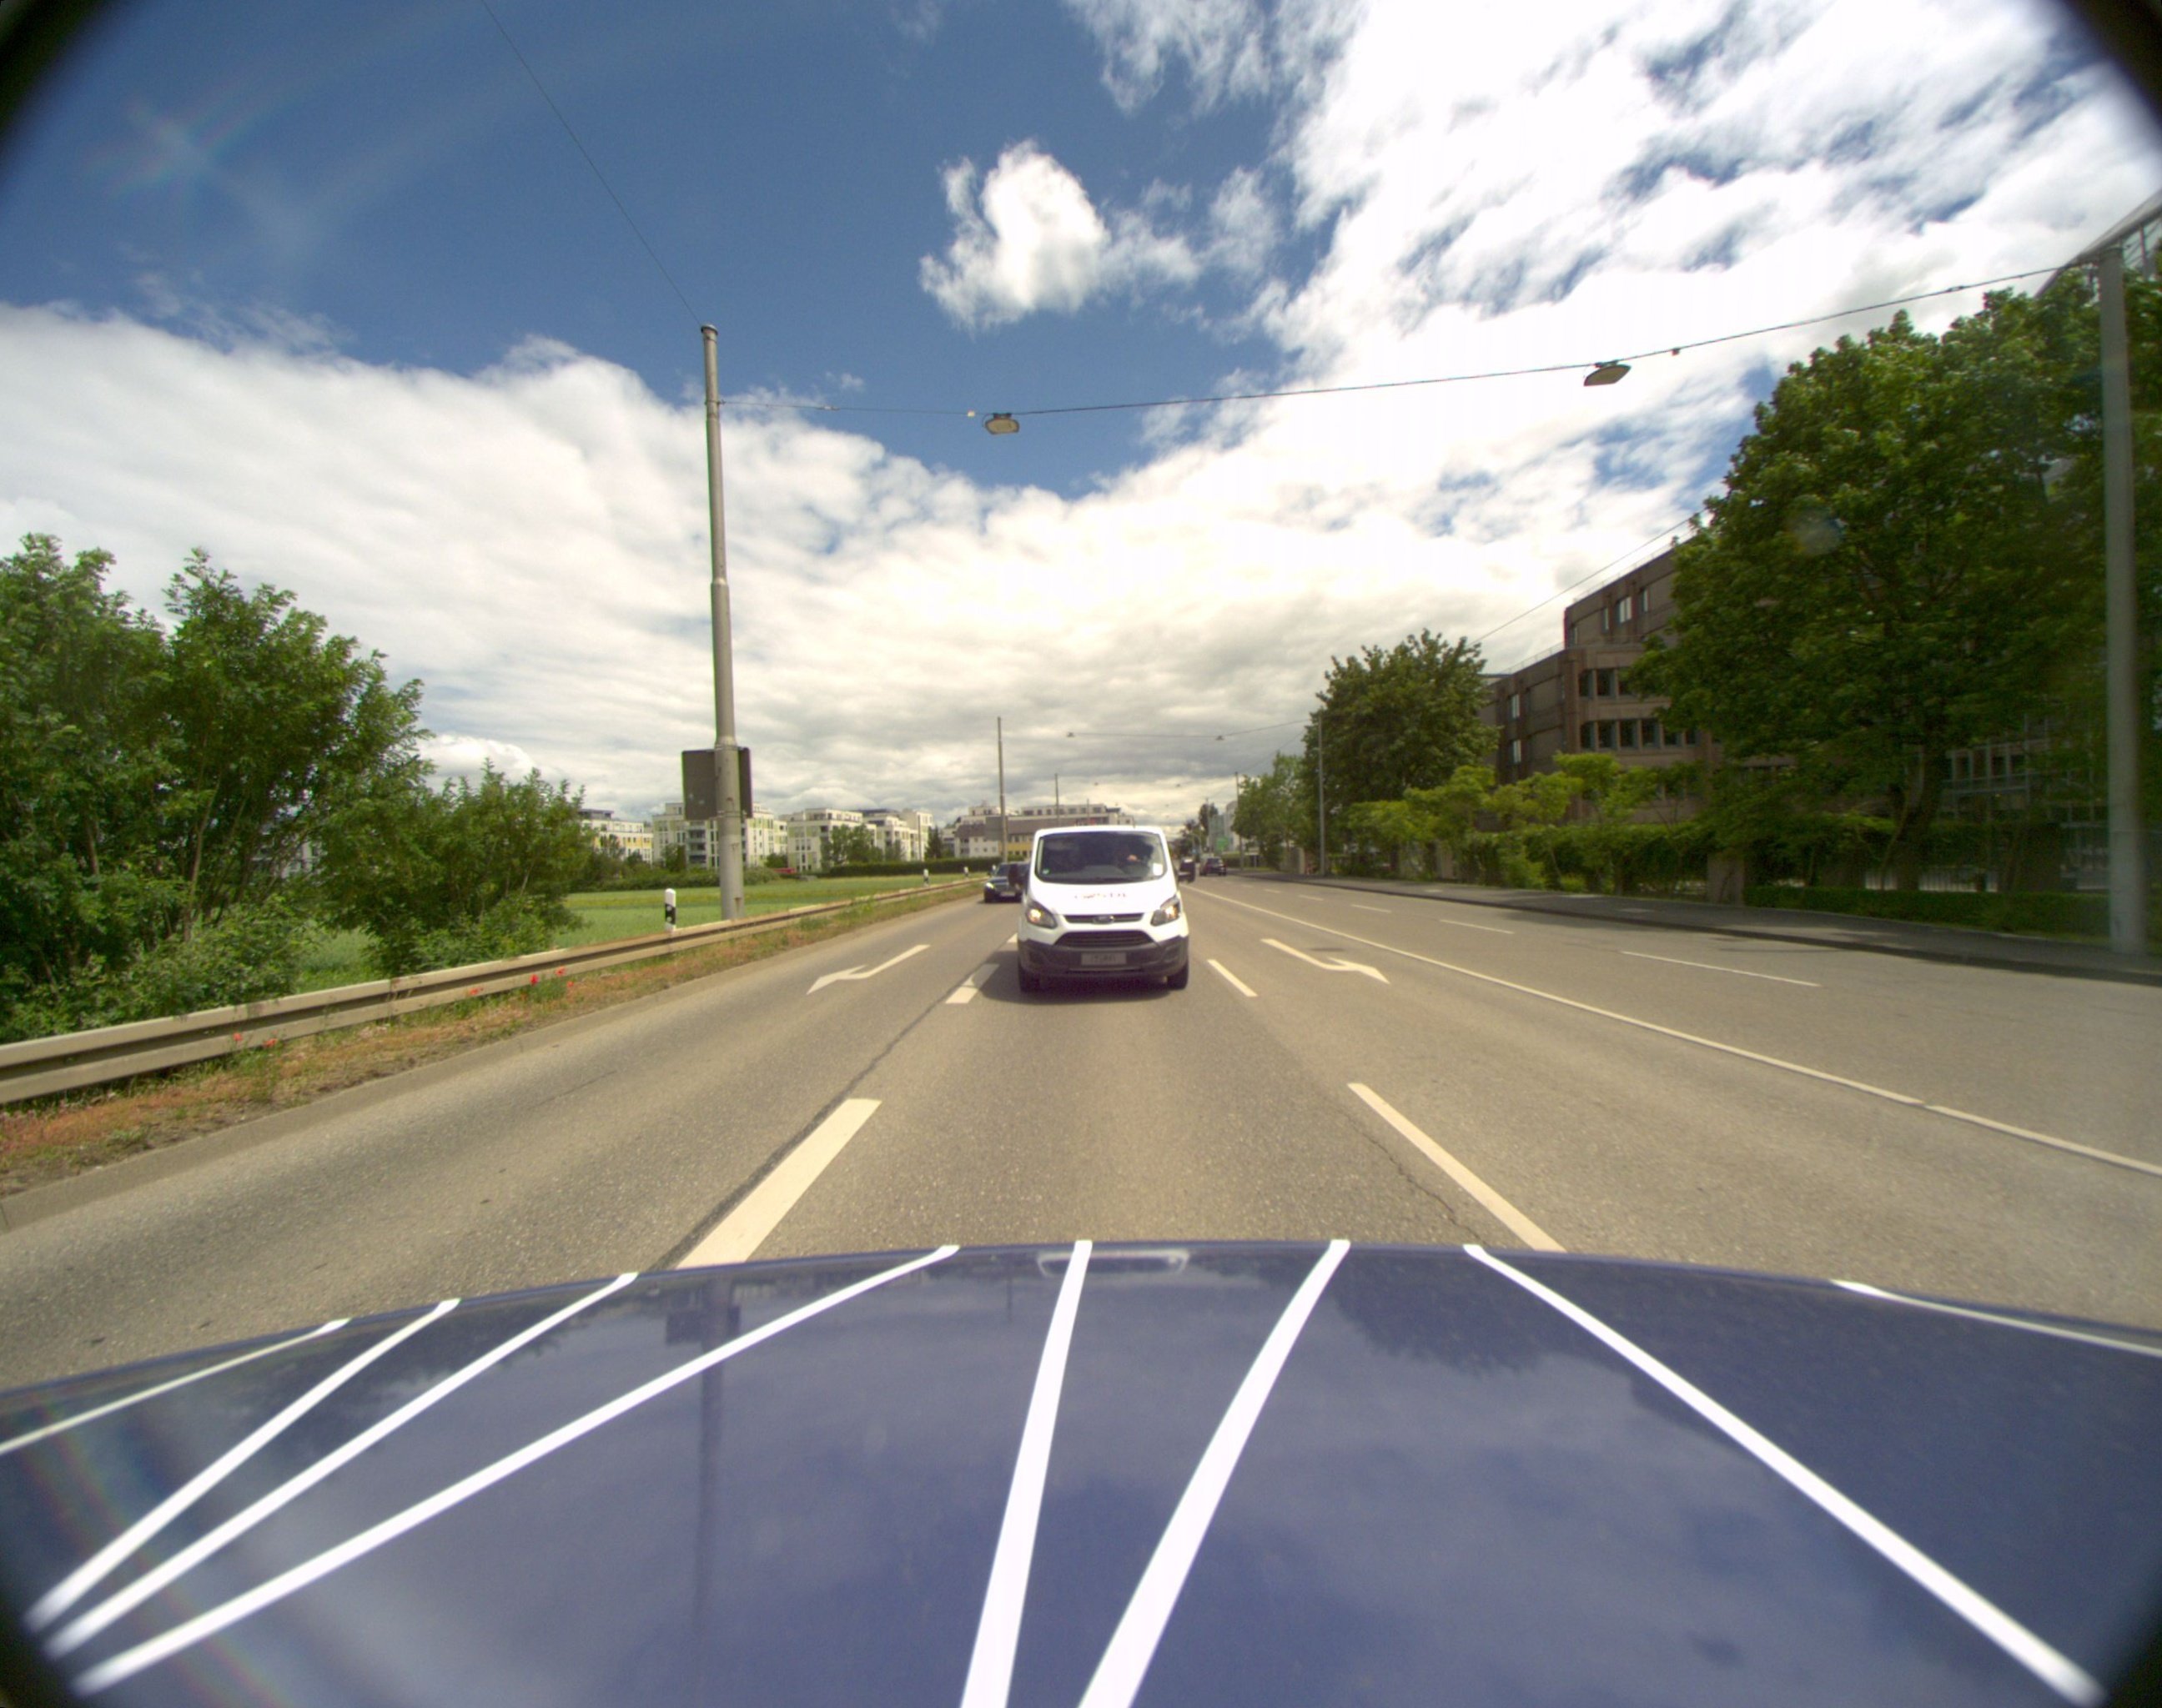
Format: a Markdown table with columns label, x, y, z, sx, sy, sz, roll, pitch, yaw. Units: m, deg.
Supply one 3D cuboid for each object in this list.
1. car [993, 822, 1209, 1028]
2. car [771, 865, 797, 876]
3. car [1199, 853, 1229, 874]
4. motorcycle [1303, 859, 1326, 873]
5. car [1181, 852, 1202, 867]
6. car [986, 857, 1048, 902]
| label | x | y | z | sx | sy | sz | roll | pitch | yaw |
| --- | --- | --- | --- | --- | --- | --- | --- | --- | --- |
| car | 0.288 | 0.703 | 10.154 | 1.998 | 1.906 | 5.883 | -2 | 0 | 2 |
| car | -59.438 | 3.336 | 152.046 | 4.436 | 2.002 | 2.000 | -2 | 1 | 2 |
| car | 11.186 | 0.793 | 64.140 | 1.872 | 1.605 | 4.572 | -2 | 1 | 2 |
| motorcycle | 21.880 | 1.147 | 71.251 | 1.905 | 1.237 | 0.746 | -2 | 1 | 1 |
| car | 12.861 | 0.630 | 88.566 | 1.801 | 1.576 | 4.313 | -2 | 1 | 1 |
| car | -2.345 | 0.957 | 28.925 | 1.843 | 1.528 | 4.807 | -2 | -2 | 1 |
